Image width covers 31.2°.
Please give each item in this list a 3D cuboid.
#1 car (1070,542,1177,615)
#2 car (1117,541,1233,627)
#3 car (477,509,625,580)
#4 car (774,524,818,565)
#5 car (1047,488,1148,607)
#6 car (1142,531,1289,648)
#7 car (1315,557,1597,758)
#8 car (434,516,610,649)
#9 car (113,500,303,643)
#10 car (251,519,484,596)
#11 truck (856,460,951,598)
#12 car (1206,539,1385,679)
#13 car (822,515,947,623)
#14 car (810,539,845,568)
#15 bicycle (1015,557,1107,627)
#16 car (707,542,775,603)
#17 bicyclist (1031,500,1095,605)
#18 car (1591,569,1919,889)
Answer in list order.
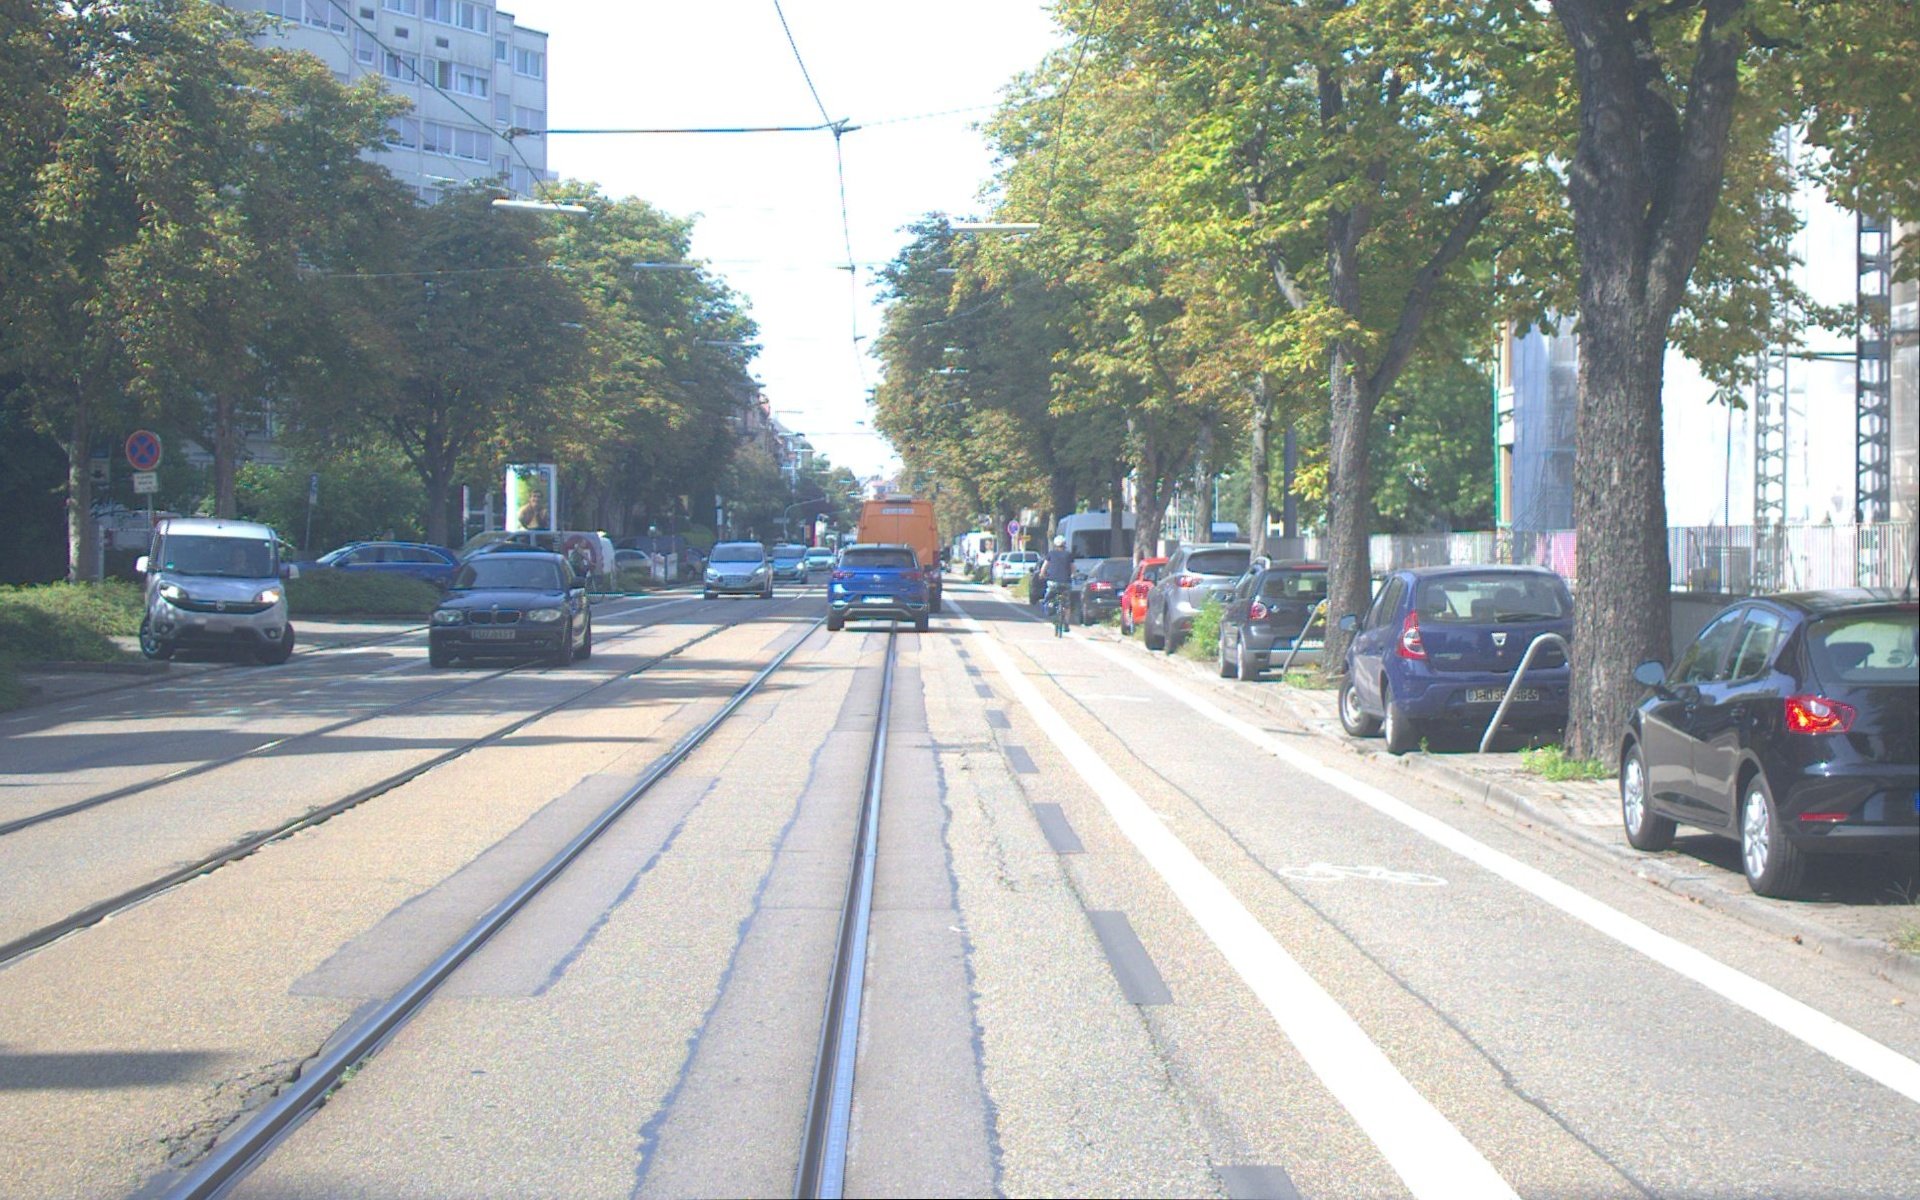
[{"bbox_3d":[3.436,-0.474,72.863,1.908,1.427,4.293,1,1,-2],"label":"car"},{"bbox_3d":[3.895,-0.320,62.726,1.740,1.457,3.684,1,1,-2],"label":"car"},{"bbox_3d":[-12.109,-1.636,101.975,3.989,2.007,1.856,1,1,-44],"label":"car"},{"bbox_3d":[-6.561,-2.226,137.737,1.633,1.579,4.189,1,1,-2],"label":"car"},{"bbox_3d":[3.298,-1.302,83.442,1.993,2.746,5.762,1,1,-2],"label":"car"},{"bbox_3d":[3.849,-0.199,52.343,1.740,1.662,4.362,1,1,-2],"label":"car"},{"bbox_3d":[4.120,0.429,29.157,1.743,1.550,4.217,0,1,0],"label":"car"},{"bbox_3d":[-5.507,-0.261,43.653,1.681,1.566,4.206,1,1,0],"label":"car"},{"bbox_3d":[-10.105,-0.409,45.999,1.746,1.790,4.001,1,1,-23],"label":"car"},{"bbox_3d":[-12.784,-0.915,74.164,4.568,1.547,2.001,1,1,-24],"label":"car"},{"bbox_3d":[-1.309,-1.671,81.117,2.135,3.113,6.085,0,1,-1],"label":"truck"},{"bbox_3d":[4.069,0.067,42.252,1.633,1.579,4.189,1,1,-2],"label":"car"},{"bbox_3d":[-1.333,-0.590,61.863,2.135,1.852,5.568,0,1,-1],"label":"car"},{"bbox_3d":[-7.398,-2.601,191.990,1.898,1.556,4.123,1,1,-2],"label":"car"},{"bbox_3d":[1.744,-0.162,60.223,1.401,1.130,4.000,1,1,-1],"label":"bicycle"},{"bbox_3d":[-6.333,-0.817,99.827,1.780,1.678,4.348,1,1,-2],"label":"car"},{"bbox_3d":[1.794,-0.831,60.200,1.031,1.806,1.016,1,1,-1],"label":"bicyclist"},{"bbox_3d":[4.464,0.567,17.608,1.659,1.403,4.217,0,1,0],"label":"car"}]
